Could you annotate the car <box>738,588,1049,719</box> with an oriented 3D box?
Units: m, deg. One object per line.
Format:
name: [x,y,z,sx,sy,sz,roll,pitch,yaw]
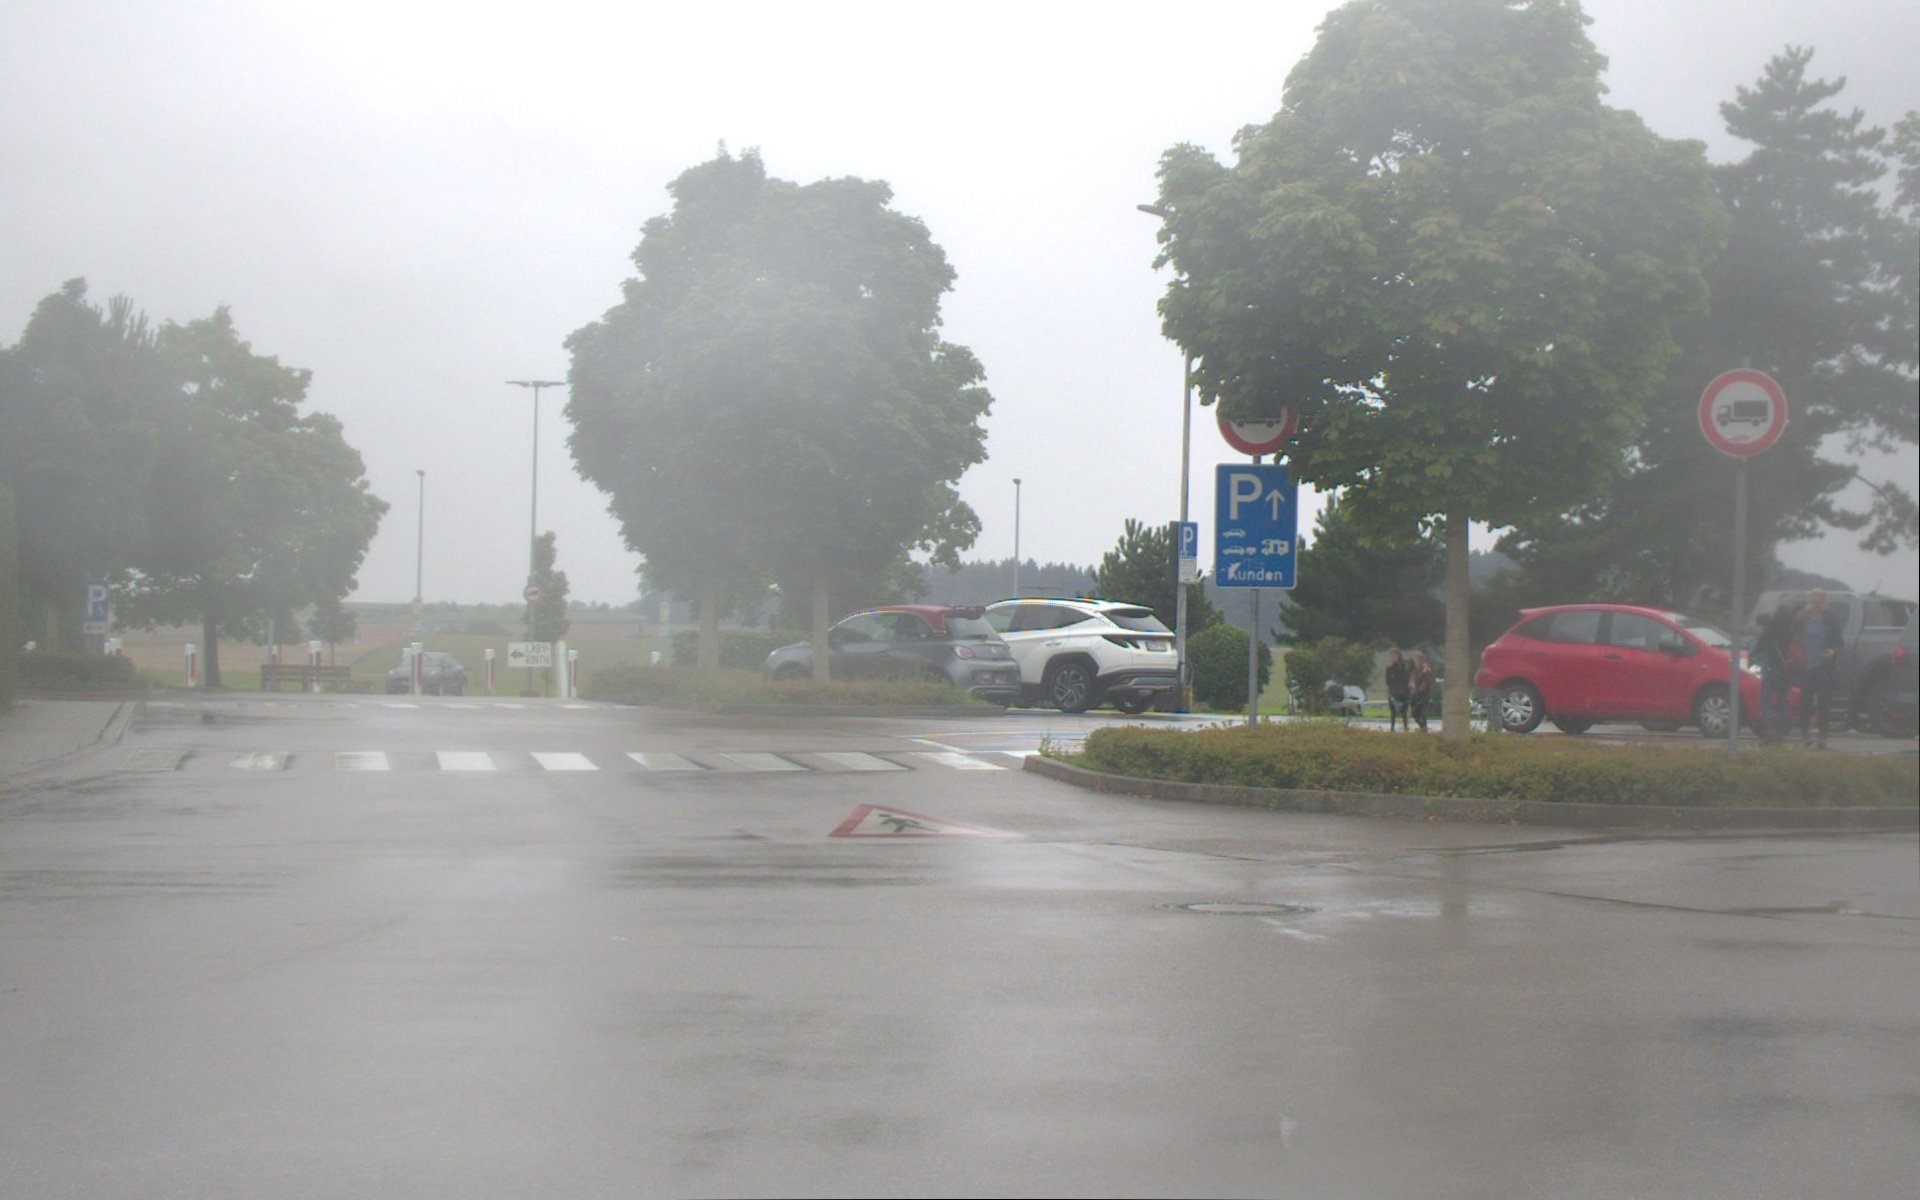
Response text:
car: [-0.940,0.734,47.577,4.021,1.710,1.717,0,-2,36]

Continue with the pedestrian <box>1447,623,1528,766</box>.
pedestrian: [5.154,0.924,33.590,0.643,1.357,0.452,3,-2,-5]

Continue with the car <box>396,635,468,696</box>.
car: [-18.550,2.315,120.923,1.703,2.007,3.999,2,-2,2]

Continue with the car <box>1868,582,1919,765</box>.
car: [11.566,0.732,33.339,4.945,1.786,1.996,0,0,36]

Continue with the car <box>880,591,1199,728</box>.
car: [1.119,0.849,49.744,4.363,1.856,1.717,0,-2,36]

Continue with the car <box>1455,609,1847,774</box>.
car: [7.923,1.005,39.556,4.018,1.786,1.847,0,0,36]

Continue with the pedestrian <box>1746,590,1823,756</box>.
pedestrian: [8.226,0.729,34.281,0.714,1.633,0.646,1,-2,14]

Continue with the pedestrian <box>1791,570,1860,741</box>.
pedestrian: [8.923,0.579,35.416,0.610,1.719,0.683,2,-2,16]
